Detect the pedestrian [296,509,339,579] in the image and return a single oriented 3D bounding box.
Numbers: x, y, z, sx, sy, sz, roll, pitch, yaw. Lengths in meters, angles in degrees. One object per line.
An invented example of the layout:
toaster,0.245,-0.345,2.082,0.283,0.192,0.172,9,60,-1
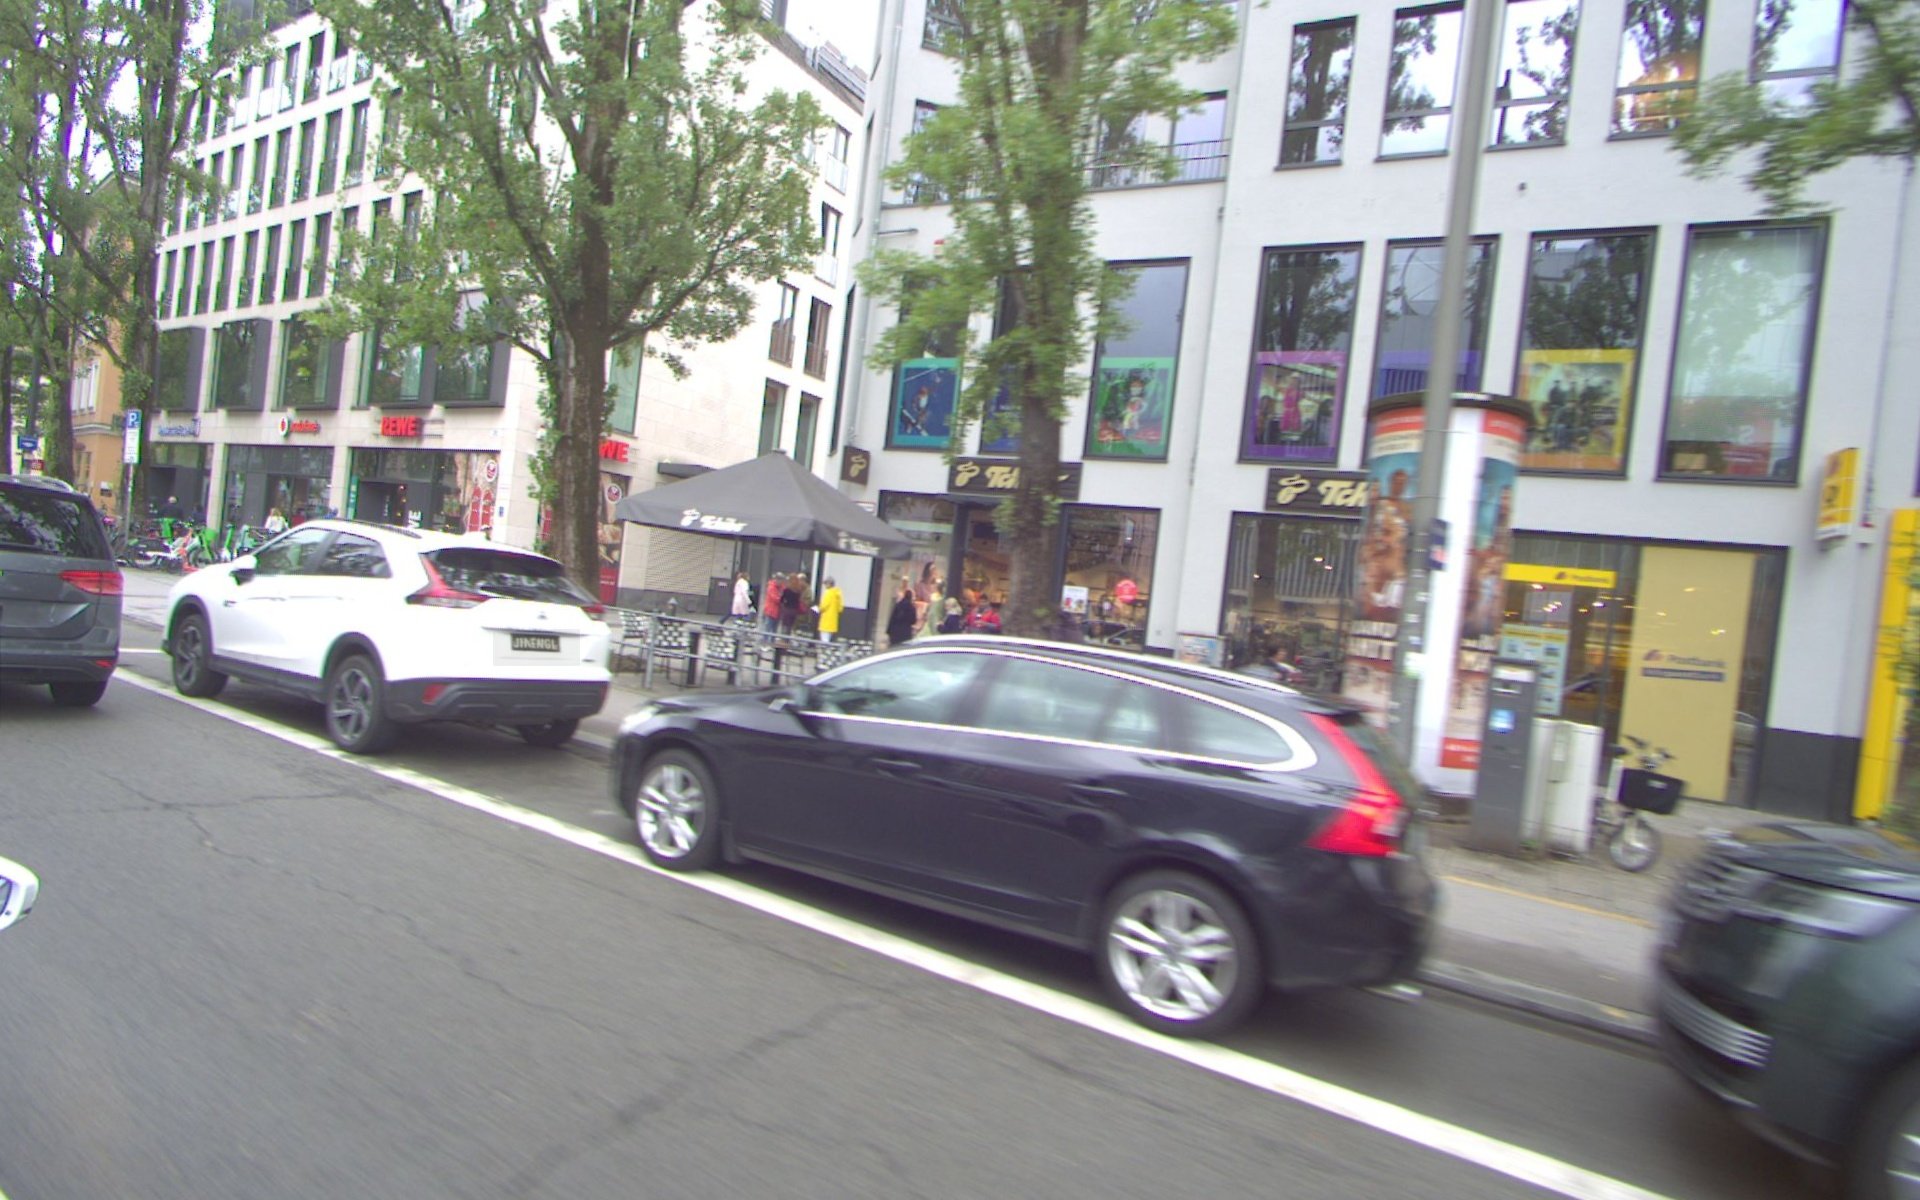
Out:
pedestrian,-15.833,-1.381,24.778,0.783,1.640,0.609,8,3,43

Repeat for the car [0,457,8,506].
car,-46.941,-5.747,47.759,1.891,2.358,4.773,5,2,-38

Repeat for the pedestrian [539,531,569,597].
pedestrian,-11.272,-0.985,27.931,0.460,1.773,0.427,7,2,7

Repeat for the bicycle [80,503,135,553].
bicycle,-22.011,-1.848,26.002,0.540,1.205,1.447,6,1,-21

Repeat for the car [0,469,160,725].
car,-7.916,-0.230,7.405,4.114,1.633,1.763,7,0,31

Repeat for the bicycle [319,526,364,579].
bicycle,-15.537,-1.195,25.255,1.744,1.187,0.449,7,2,43

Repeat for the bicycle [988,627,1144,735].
bicycle,1.314,0.996,12.679,1.774,1.077,0.590,7,1,33

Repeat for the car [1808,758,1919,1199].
car,2.858,1.149,0.480,3.539,1.463,1.667,6,-1,34

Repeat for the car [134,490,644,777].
car,-4.927,0.166,8.503,4.334,1.707,1.729,7,0,31

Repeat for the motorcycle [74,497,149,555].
motorcycle,-23.349,-2.036,27.683,1.612,1.374,0.687,7,2,13

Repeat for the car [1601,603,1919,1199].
car,4.563,1.237,2.585,4.700,1.826,1.932,7,-1,32

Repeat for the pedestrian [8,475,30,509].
pedestrian,-47.955,-5.490,51.264,0.631,1.634,0.671,8,2,43

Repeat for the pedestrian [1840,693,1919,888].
pedestrian,8.876,1.759,9.135,1.006,1.658,0.801,7,2,28

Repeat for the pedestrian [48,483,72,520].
pedestrian,-42.331,-4.626,47.332,0.726,1.647,0.796,5,2,-40

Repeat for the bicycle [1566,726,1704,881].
bicycle,5.747,1.694,8.638,0.561,1.037,1.303,6,1,19

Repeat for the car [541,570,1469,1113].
car,0.074,0.875,5.353,4.493,1.450,1.775,7,-1,30

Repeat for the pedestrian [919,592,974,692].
pedestrian,-0.222,0.691,16.645,0.560,1.587,0.490,7,2,33

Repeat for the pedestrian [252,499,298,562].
pedestrian,-20.842,-2.114,30.617,0.669,1.795,0.796,7,2,16

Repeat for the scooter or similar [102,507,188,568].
scooter or similar,-18.528,-1.414,22.898,0.306,1.216,1.435,7,1,31

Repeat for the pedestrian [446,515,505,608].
pedestrian,-10.726,-0.843,22.257,0.911,1.950,0.646,7,2,32

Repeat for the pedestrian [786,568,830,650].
pedestrian,-3.195,0.189,21.139,0.541,1.644,0.506,7,0,37

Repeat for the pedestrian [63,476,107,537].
pedestrian,-29.147,-3.121,33.509,0.924,1.894,0.817,8,2,36

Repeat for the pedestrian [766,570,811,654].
pedestrian,-3.491,0.245,20.460,0.546,1.644,0.501,7,0,-44

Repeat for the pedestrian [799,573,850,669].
pedestrian,-2.439,0.374,18.074,0.560,1.655,0.490,7,2,34

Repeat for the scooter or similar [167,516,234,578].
scooter or similar,-16.767,-1.161,22.222,0.373,1.242,1.051,7,2,32

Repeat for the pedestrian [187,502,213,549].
pedestrian,-25.431,-2.492,33.670,0.497,1.510,0.544,6,1,-25

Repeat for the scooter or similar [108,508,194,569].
scooter or similar,-18.254,-1.375,22.731,0.306,1.216,1.435,7,1,31

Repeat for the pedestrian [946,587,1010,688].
pedestrian,0.332,0.682,18.513,0.665,1.748,0.760,5,2,-42

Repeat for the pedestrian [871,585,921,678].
pedestrian,-1.155,0.564,18.266,0.664,1.596,0.564,6,2,4

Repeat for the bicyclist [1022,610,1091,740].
bicyclist,1.161,0.885,12.009,0.433,1.467,0.639,7,2,31

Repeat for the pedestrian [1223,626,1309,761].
pedestrian,3.889,1.165,12.766,0.737,1.578,0.683,7,2,29

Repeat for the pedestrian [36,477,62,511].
pedestrian,-46.989,-5.479,51.887,0.768,1.634,0.819,8,2,43

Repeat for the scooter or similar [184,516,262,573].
scooter or similar,-18.214,-1.352,24.875,0.545,1.226,1.383,8,1,37

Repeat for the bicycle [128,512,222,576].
bicycle,-17.333,-1.218,22.247,0.527,1.223,1.479,7,1,31

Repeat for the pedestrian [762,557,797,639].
pedestrian,-3.778,-0.041,21.109,0.498,1.644,0.548,7,0,-7

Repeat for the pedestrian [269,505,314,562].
pedestrian,-21.029,-2.089,31.662,0.704,1.642,0.796,7,2,16

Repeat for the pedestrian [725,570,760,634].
pedestrian,-5.690,0.046,26.315,0.544,1.599,0.504,6,0,44

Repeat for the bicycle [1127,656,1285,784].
bicycle,2.642,1.251,10.732,0.882,1.154,1.504,8,2,45

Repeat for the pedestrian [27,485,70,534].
pedestrian,-32.371,-3.209,35.722,0.923,1.597,0.834,7,2,32

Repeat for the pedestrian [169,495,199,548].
pedestrian,-25.498,-2.579,33.067,0.545,1.659,0.555,6,1,-26

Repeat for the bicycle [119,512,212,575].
bicycle,-17.776,-1.244,22.545,0.527,1.223,1.479,7,1,31

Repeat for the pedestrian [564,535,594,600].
pedestrian,-10.771,-0.908,28.436,0.420,1.773,0.467,8,2,36

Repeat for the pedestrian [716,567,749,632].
pedestrian,-6.049,-0.011,26.787,0.494,1.644,0.504,7,0,44
